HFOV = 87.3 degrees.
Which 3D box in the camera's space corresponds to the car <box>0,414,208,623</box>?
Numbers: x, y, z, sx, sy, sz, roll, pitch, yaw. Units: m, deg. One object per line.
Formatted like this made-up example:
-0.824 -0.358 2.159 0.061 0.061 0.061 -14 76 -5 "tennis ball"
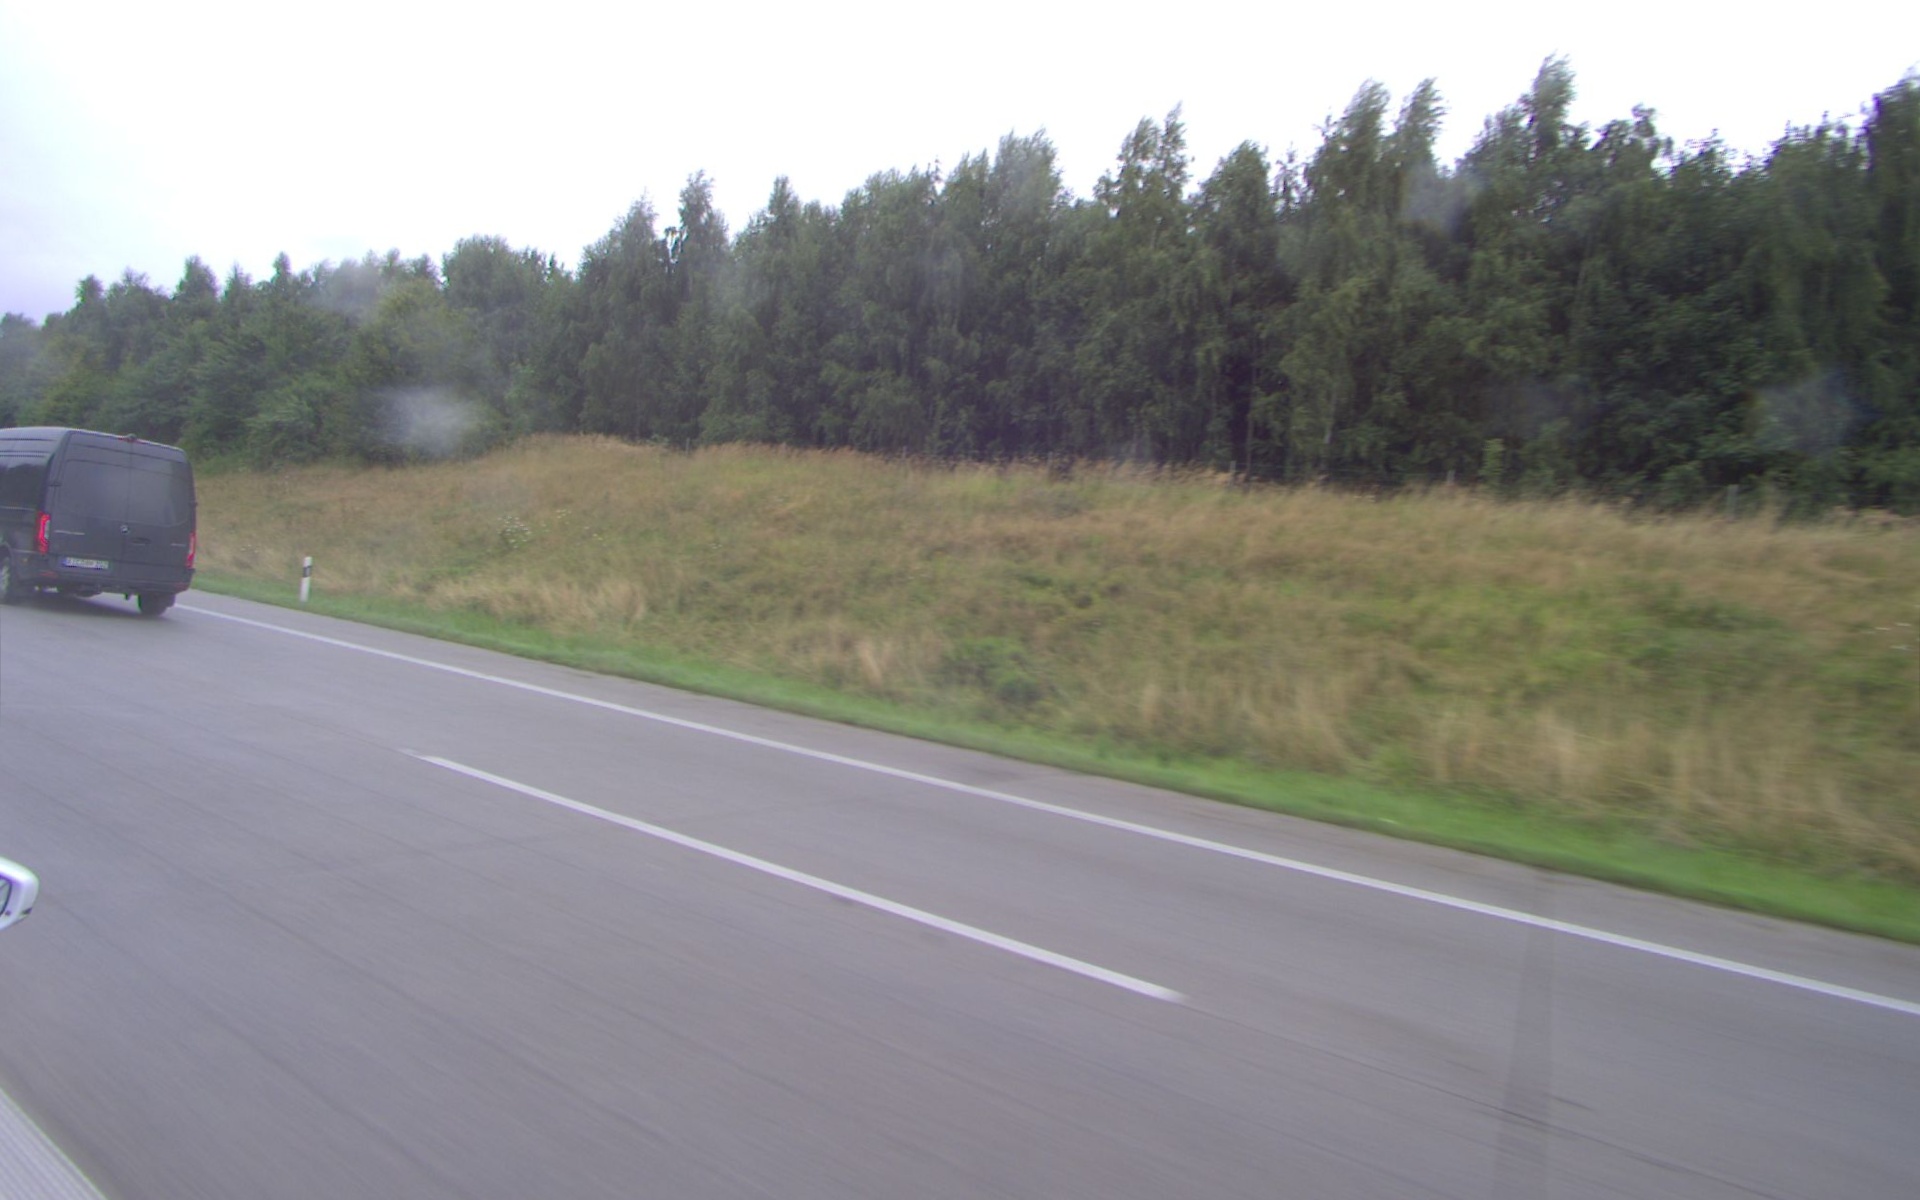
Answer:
-14.823 -1.403 16.191 6.478 2.690 1.944 7 -1 32 "car"
